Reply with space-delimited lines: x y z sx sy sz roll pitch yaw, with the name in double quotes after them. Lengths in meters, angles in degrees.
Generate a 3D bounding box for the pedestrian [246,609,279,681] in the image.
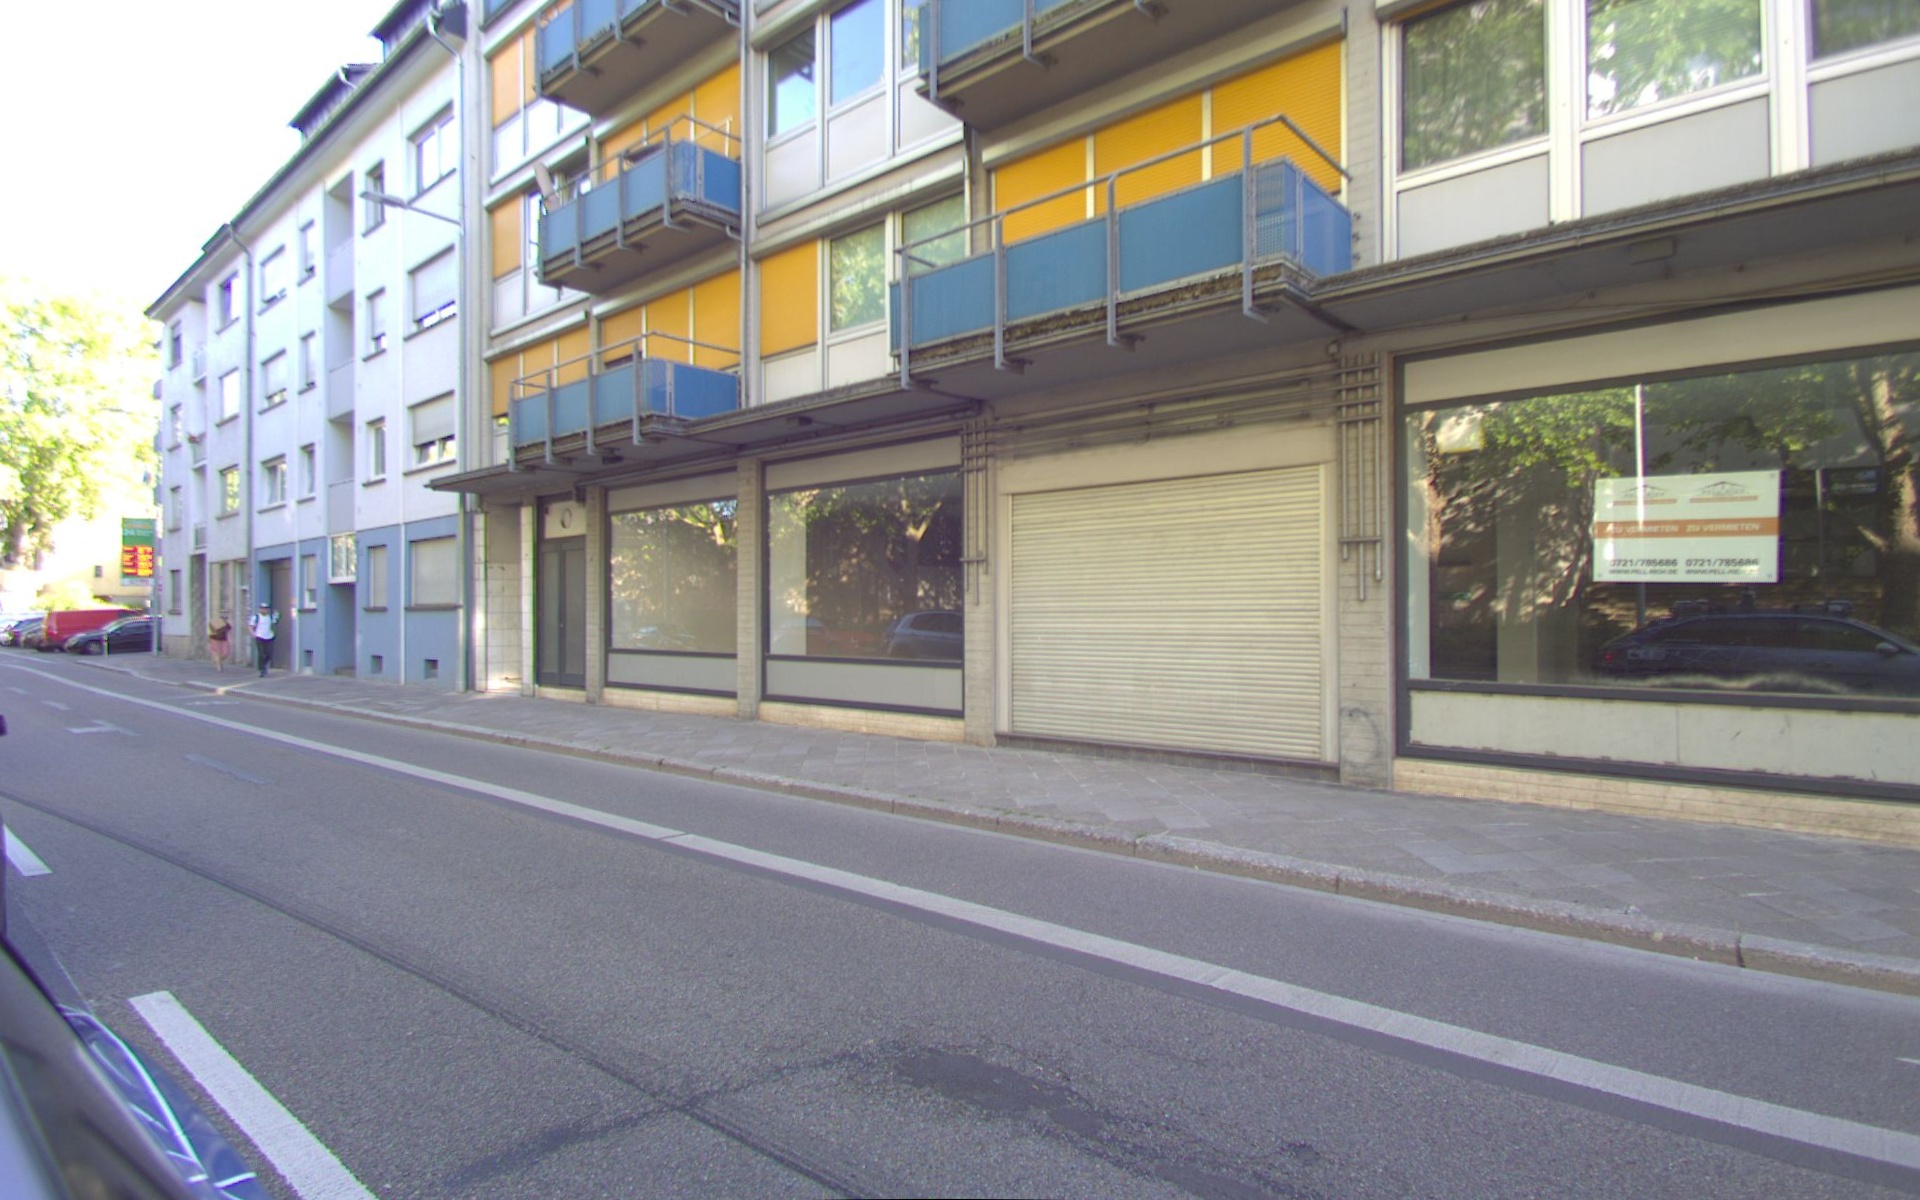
-17.312 1.108 25.123 0.343 1.739 0.562 -2 0 41 "pedestrian"

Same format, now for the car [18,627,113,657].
-42.970 2.008 48.653 1.294 1.258 3.283 -1 0 41 "car"

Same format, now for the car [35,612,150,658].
-40.565 1.590 47.366 1.635 1.937 3.878 -2 0 41 "car"

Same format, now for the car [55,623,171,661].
-36.668 1.777 43.857 1.635 1.422 3.623 -1 0 41 "car"

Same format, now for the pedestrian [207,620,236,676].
-20.488 1.322 28.068 0.343 1.529 0.562 -2 0 41 "pedestrian"
